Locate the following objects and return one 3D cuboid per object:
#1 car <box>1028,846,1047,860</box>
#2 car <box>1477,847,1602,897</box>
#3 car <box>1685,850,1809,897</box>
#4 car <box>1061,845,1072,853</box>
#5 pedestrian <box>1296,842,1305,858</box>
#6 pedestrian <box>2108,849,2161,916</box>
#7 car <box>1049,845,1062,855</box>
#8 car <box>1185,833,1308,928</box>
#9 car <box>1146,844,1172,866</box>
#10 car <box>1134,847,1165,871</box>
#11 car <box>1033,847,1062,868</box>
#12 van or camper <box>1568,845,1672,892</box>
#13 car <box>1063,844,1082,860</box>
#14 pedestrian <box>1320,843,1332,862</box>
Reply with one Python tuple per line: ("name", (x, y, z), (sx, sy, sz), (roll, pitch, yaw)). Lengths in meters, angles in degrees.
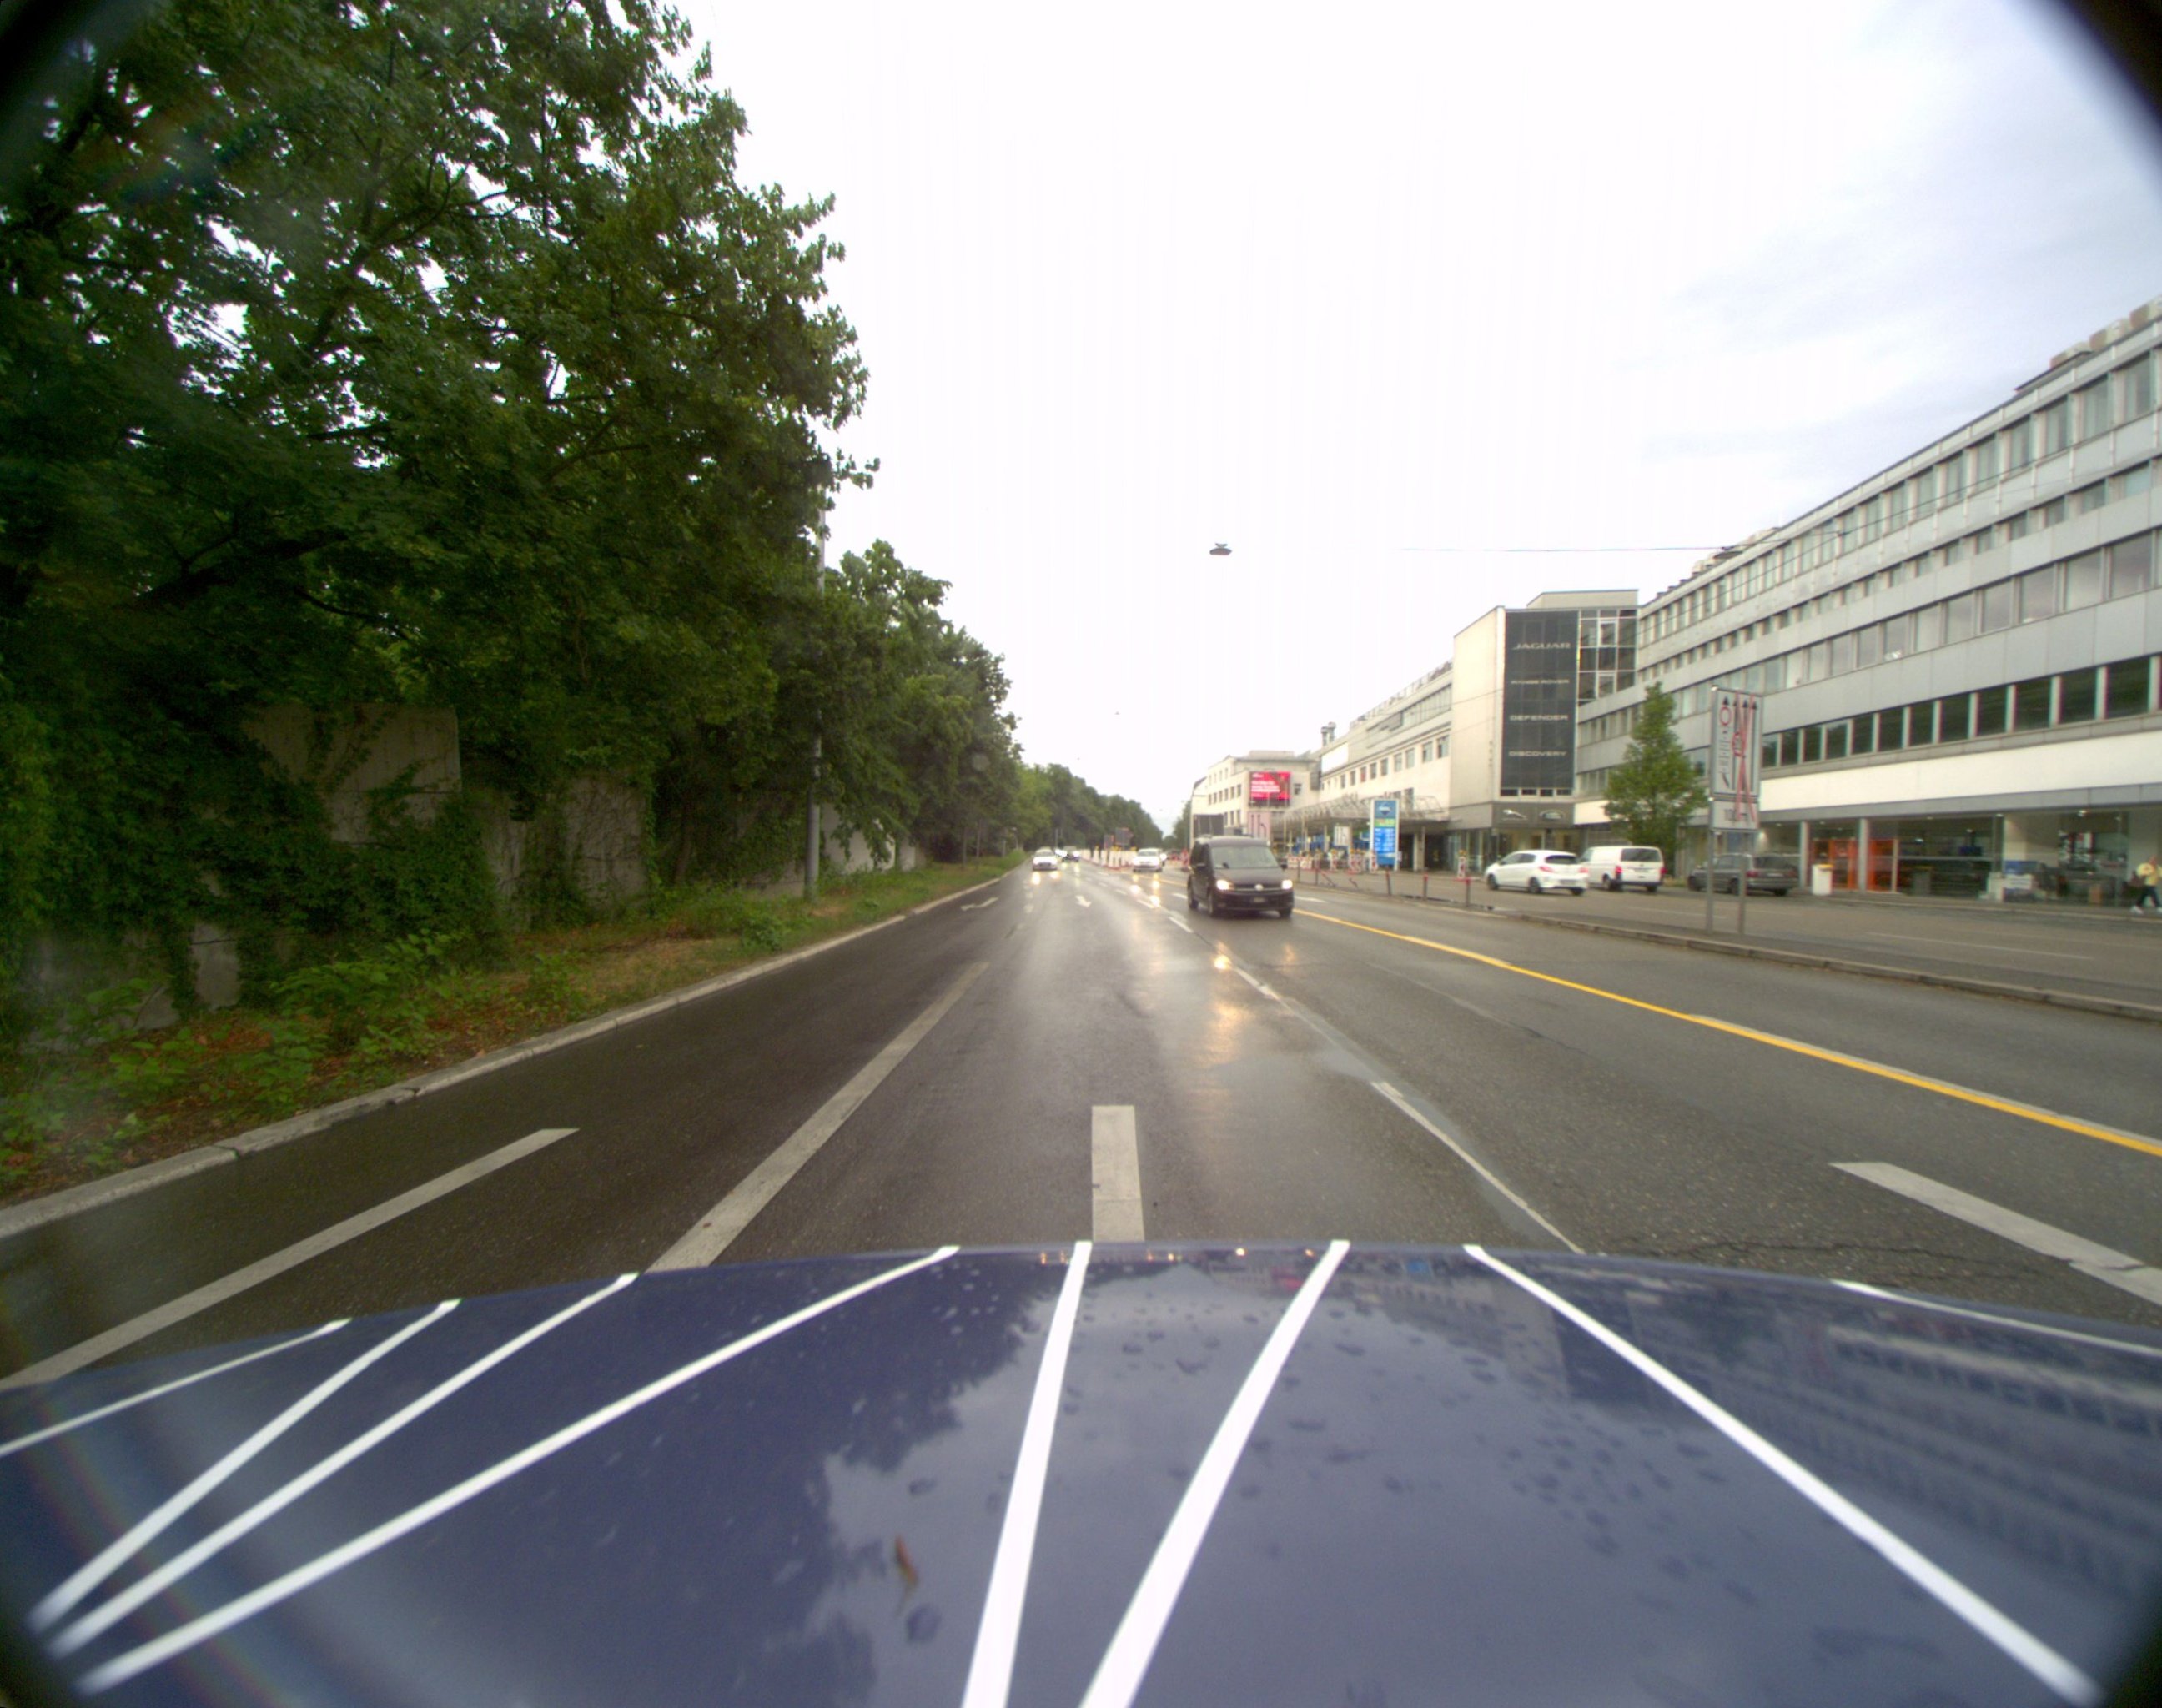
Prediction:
("car", (-5.068, -0.160, 89.107), (1.814, 1.590, 4.333), (-2, 1, 1))
("car", (15.862, 0.586, 26.531), (1.806, 1.523, 3.762), (4, 0, -5))
("car", (28.355, 0.767, 32.557), (1.922, 1.805, 4.166), (-2, 1, 6))
("car", (-2.815, -1.021, 150.489), (1.814, 1.590, 4.333), (-2, 1, 2))
("pedestrian", (24.851, -0.456, 86.088), (0.894, 1.804, 0.942), (-2, 1, 14))
("pedestrian", (29.068, 0.771, 20.775), (0.761, 1.765, 0.864), (-2, 1, 8))
("car", (-4.238, -0.704, 126.289), (1.814, 1.590, 4.333), (-2, 1, 2))
("car", (3.575, 0.501, 17.253), (1.905, 1.804, 4.430), (-2, 1, 2))
("car", (6.150, 0.076, 60.459), (1.771, 1.608, 3.949), (-2, 1, 2))
("car", (4.548, 0.311, 49.810), (1.770, 1.407, 4.335), (-2, 1, 8))
("car", (-2.480, 0.241, 57.514), (1.814, 1.444, 4.333), (-2, 1, 2))
("van or camper", (23.901, 0.581, 33.919), (1.939, 1.913, 4.688), (0, 1, 10))
("car", (-0.880, -0.248, 80.553), (1.814, 1.590, 4.332), (-2, 1, 0))
("pedestrian", (23.615, -0.161, 73.302), (0.895, 1.804, 0.941), (-2, 1, 5))
